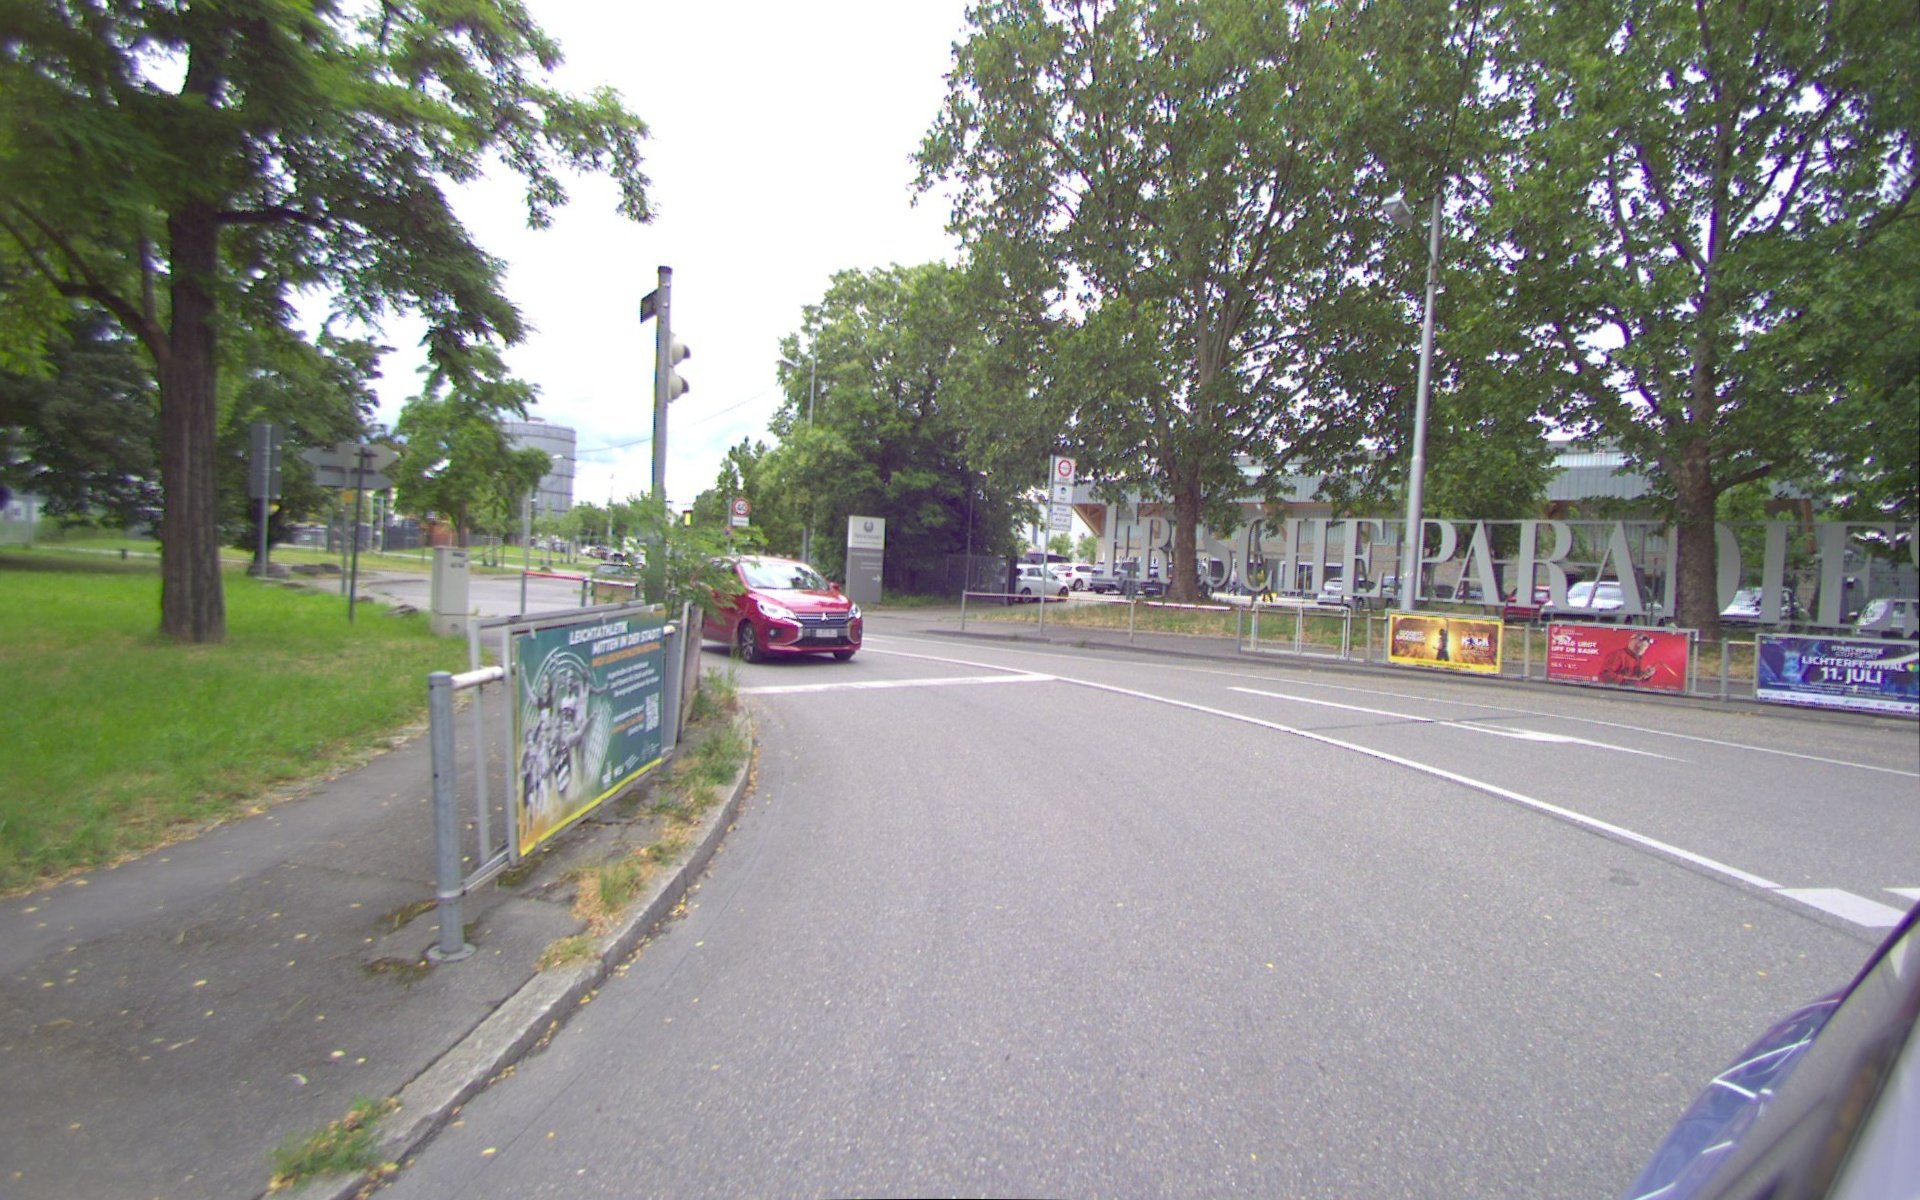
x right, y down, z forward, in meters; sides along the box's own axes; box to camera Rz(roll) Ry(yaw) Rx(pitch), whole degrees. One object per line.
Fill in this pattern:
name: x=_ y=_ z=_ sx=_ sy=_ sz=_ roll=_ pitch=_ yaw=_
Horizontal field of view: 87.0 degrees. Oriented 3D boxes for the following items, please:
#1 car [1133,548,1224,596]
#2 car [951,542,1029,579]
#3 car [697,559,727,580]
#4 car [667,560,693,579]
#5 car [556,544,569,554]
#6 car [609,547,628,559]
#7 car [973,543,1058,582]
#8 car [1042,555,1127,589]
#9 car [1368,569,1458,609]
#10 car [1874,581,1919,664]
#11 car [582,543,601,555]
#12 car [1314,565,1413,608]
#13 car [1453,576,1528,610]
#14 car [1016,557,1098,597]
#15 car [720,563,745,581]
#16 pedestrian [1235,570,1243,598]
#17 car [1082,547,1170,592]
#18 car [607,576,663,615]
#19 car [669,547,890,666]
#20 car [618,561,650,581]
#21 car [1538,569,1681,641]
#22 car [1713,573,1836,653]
car: x=10.677 y=-1.345 z=49.270 sx=4.560 sy=2.038 sz=1.997 roll=2 pitch=2 yaw=-42
car: x=1.891 y=-2.435 z=63.280 sx=4.740 sy=2.038 sz=1.997 roll=2 pitch=2 yaw=-42
car: x=-18.899 y=-2.341 z=77.249 sx=1.682 sy=1.424 sz=3.376 roll=3 pitch=1 yaw=-6
car: x=-24.542 y=-2.706 z=88.845 sx=2.005 sy=1.554 sz=3.952 roll=0 pitch=4 yaw=-13
car: x=-75.321 y=-9.667 z=191.699 sx=2.005 sy=1.555 sz=3.950 roll=4 pitch=1 yaw=-26
car: x=-50.949 y=-7.053 z=150.993 sx=2.006 sy=1.555 sz=3.949 roll=2 pitch=2 yaw=-29
car: x=3.350 y=-2.226 z=60.388 sx=5.014 sy=2.023 sz=1.997 roll=2 pitch=2 yaw=-42
car: x=6.770 y=-1.498 z=54.657 sx=4.560 sy=1.577 sz=1.997 roll=2 pitch=2 yaw=-42
car: x=20.567 y=-0.468 z=45.892 sx=4.560 sy=1.580 sz=1.997 roll=2 pitch=2 yaw=-42
car: x=20.881 y=0.539 z=21.638 sx=3.932 sy=1.633 sz=1.589 roll=2 pitch=2 yaw=-43
car: x=-53.549 y=-7.446 z=147.029 sx=2.006 sy=1.555 sz=3.949 roll=2 pitch=2 yaw=-29
car: x=17.059 y=-0.539 z=42.702 sx=4.560 sy=1.580 sz=1.997 roll=2 pitch=2 yaw=-42
car: x=28.093 y=-0.375 z=53.568 sx=4.560 sy=1.580 sz=1.997 roll=2 pitch=2 yaw=-42
car: x=5.546 y=-1.274 z=57.307 sx=4.560 sy=2.038 sz=1.997 roll=2 pitch=2 yaw=-42
car: x=-19.750 y=-2.467 z=88.099 sx=1.682 sy=1.424 sz=3.376 roll=3 pitch=1 yaw=-6
pedestrian: x=18.289 y=-1.068 z=66.407 sx=0.338 sy=1.787 sz=0.434 roll=4 pitch=0 yaw=25
car: x=8.538 y=-1.542 z=51.836 sx=4.560 sy=2.038 sz=1.997 roll=2 pitch=2 yaw=-42
car: x=-15.376 y=-0.210 z=48.112 sx=1.812 sy=1.656 sz=4.192 roll=4 pitch=0 yaw=-9
car: x=-2.797 y=-0.002 z=15.002 sx=1.701 sy=1.483 sz=3.835 roll=0 pitch=3 yaw=-36
car: x=-27.569 y=-2.487 z=85.548 sx=2.006 sy=1.554 sz=3.950 roll=-1 pitch=4 yaw=-26
car: x=17.027 y=0.151 z=26.443 sx=4.445 sy=1.633 sz=1.882 roll=3 pitch=2 yaw=-41
car: x=19.090 y=0.329 z=23.655 sx=4.244 sy=1.633 sz=1.589 roll=2 pitch=2 yaw=-43
